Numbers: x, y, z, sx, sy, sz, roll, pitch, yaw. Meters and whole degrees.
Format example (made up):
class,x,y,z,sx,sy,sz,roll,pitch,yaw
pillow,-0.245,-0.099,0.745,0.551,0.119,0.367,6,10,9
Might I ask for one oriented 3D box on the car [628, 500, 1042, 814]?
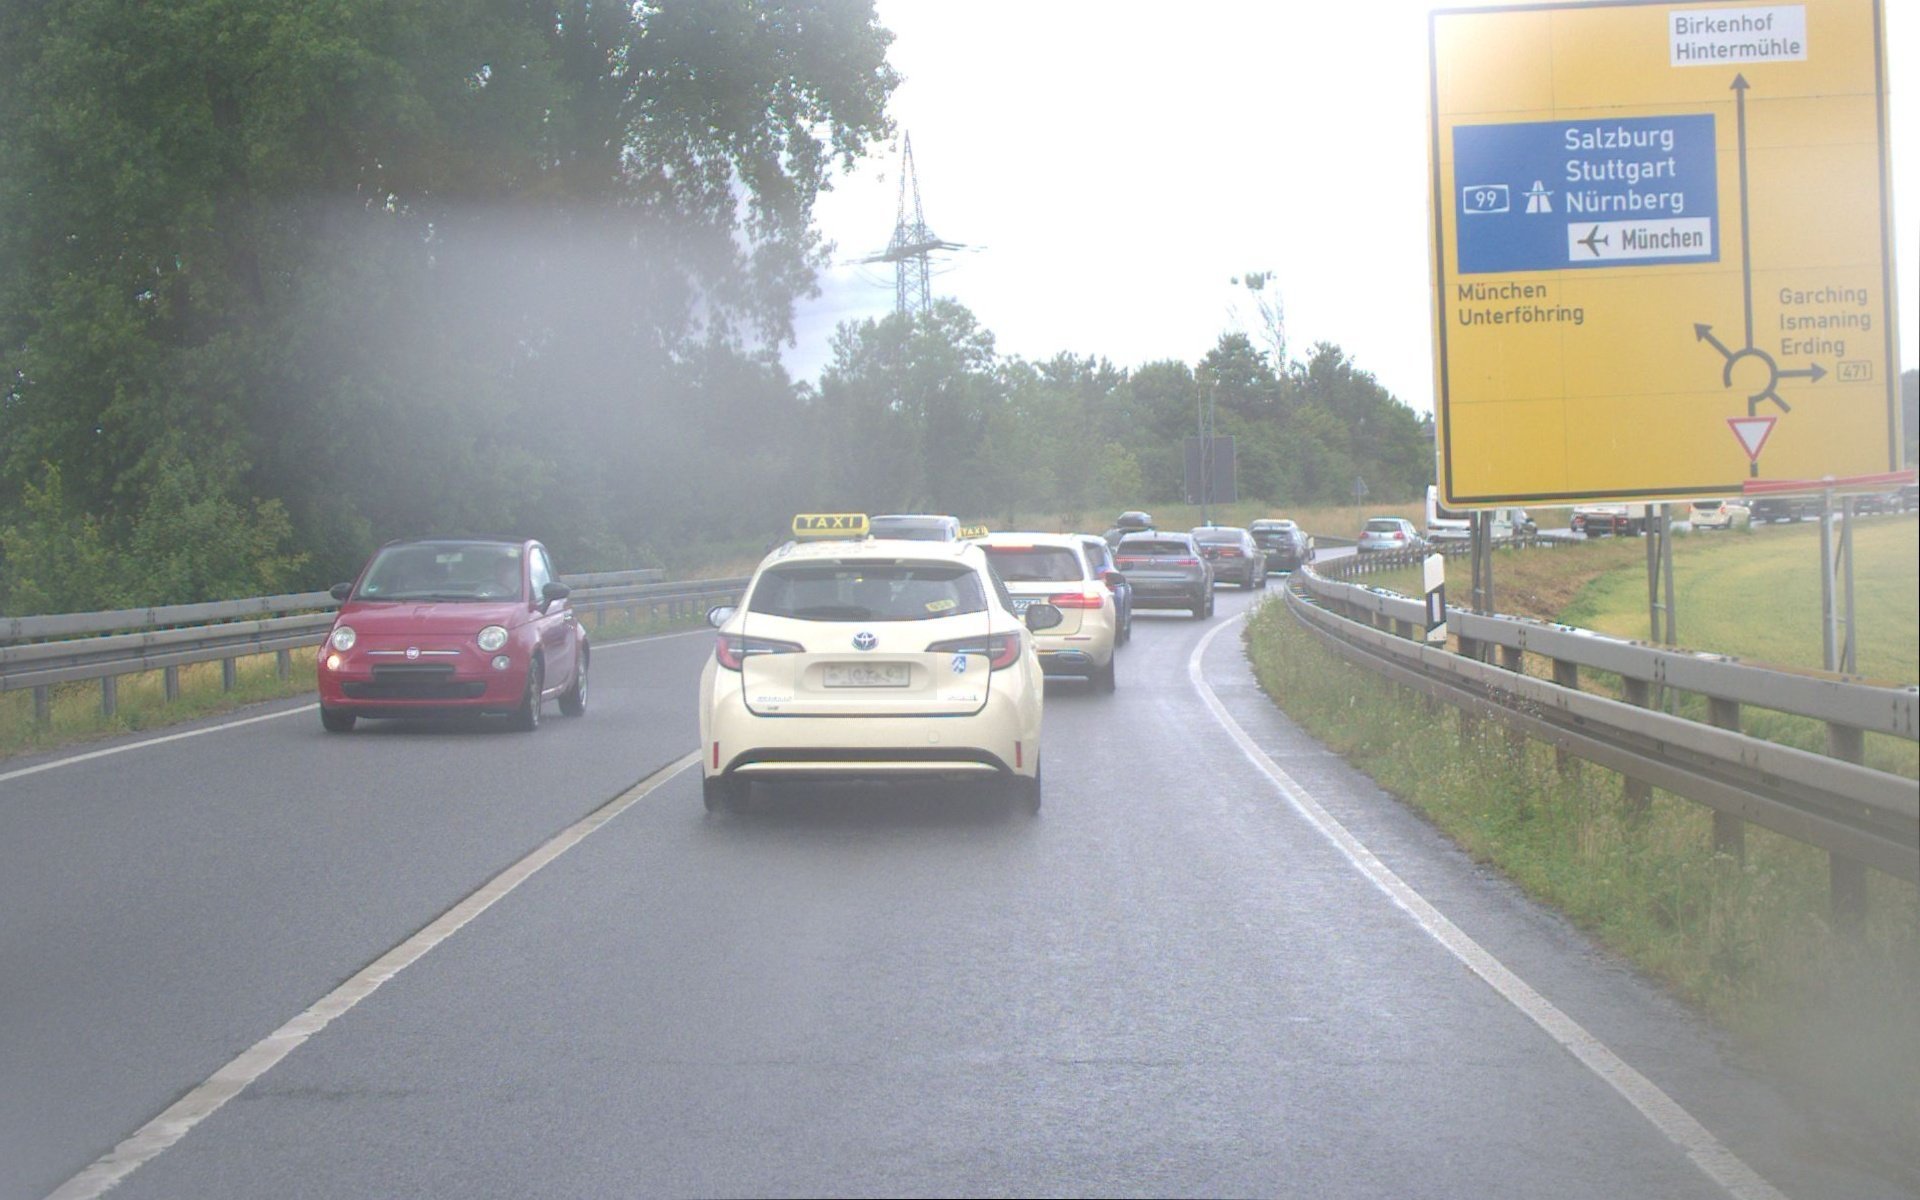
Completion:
class,x,y,z,sx,sy,sz,roll,pitch,yaw
car,-0.564,0.249,18.915,1.906,1.532,4.161,0,1,3

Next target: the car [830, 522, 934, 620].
class,x,y,z,sx,sy,sz,roll,pitch,yaw
car,-1.342,-0.508,60.599,1.520,1.667,3.806,0,0,3

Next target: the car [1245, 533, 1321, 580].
class,x,y,z,sx,sy,sz,roll,pitch,yaw
car,9.138,-1.245,97.185,1.484,1.304,3.474,0,1,17

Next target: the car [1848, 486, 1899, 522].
class,x,y,z,sx,sy,sz,roll,pitch,yaw
car,52.641,-5.526,198.024,2.228,2.007,3.995,0,0,24

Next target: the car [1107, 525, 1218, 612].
class,x,y,z,sx,sy,sz,roll,pitch,yaw
car,3.559,-0.557,59.913,1.665,1.459,3.476,0,1,8

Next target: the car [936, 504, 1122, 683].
class,x,y,z,sx,sy,sz,roll,pitch,yaw
car,0.688,-0.086,32.012,1.578,1.567,3.681,0,1,4

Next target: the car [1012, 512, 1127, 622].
class,x,y,z,sx,sy,sz,roll,pitch,yaw
car,1.492,-0.459,46.713,1.506,1.432,3.355,0,1,2

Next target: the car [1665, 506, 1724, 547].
class,x,y,z,sx,sy,sz,roll,pitch,yaw
car,37.220,-3.712,174.227,2.169,2.007,3.995,0,0,23

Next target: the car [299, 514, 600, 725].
class,x,y,z,sx,sy,sz,roll,pitch,yaw
car,-3.914,0.090,26.939,1.610,1.481,4.000,-1,2,2

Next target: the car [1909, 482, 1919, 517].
class,x,y,z,sx,sy,sz,roll,pitch,yaw
car,58.395,-6.055,206.718,1.996,2.007,3.995,-2,-1,24

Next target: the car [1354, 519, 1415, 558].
class,x,y,z,sx,sy,sz,roll,pitch,yaw
car,14.328,-2.071,115.961,1.484,1.304,3.474,0,1,17

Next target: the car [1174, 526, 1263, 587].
class,x,y,z,sx,sy,sz,roll,pitch,yaw
car,6.271,-1.030,83.064,1.661,1.404,3.902,0,0,12

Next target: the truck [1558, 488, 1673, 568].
class,x,y,z,sx,sy,sz,roll,pitch,yaw
truck,30.102,-3.258,157.603,3.145,3.550,7.510,0,0,27

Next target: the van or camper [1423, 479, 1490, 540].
class,x,y,z,sx,sy,sz,roll,pitch,yaw
van or camper,18.828,-3.405,130.302,1.995,2.246,3.997,0,0,16

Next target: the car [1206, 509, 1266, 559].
class,x,y,z,sx,sy,sz,roll,pitch,yaw
car,9.755,-2.324,121.355,1.518,1.715,3.418,0,0,15
